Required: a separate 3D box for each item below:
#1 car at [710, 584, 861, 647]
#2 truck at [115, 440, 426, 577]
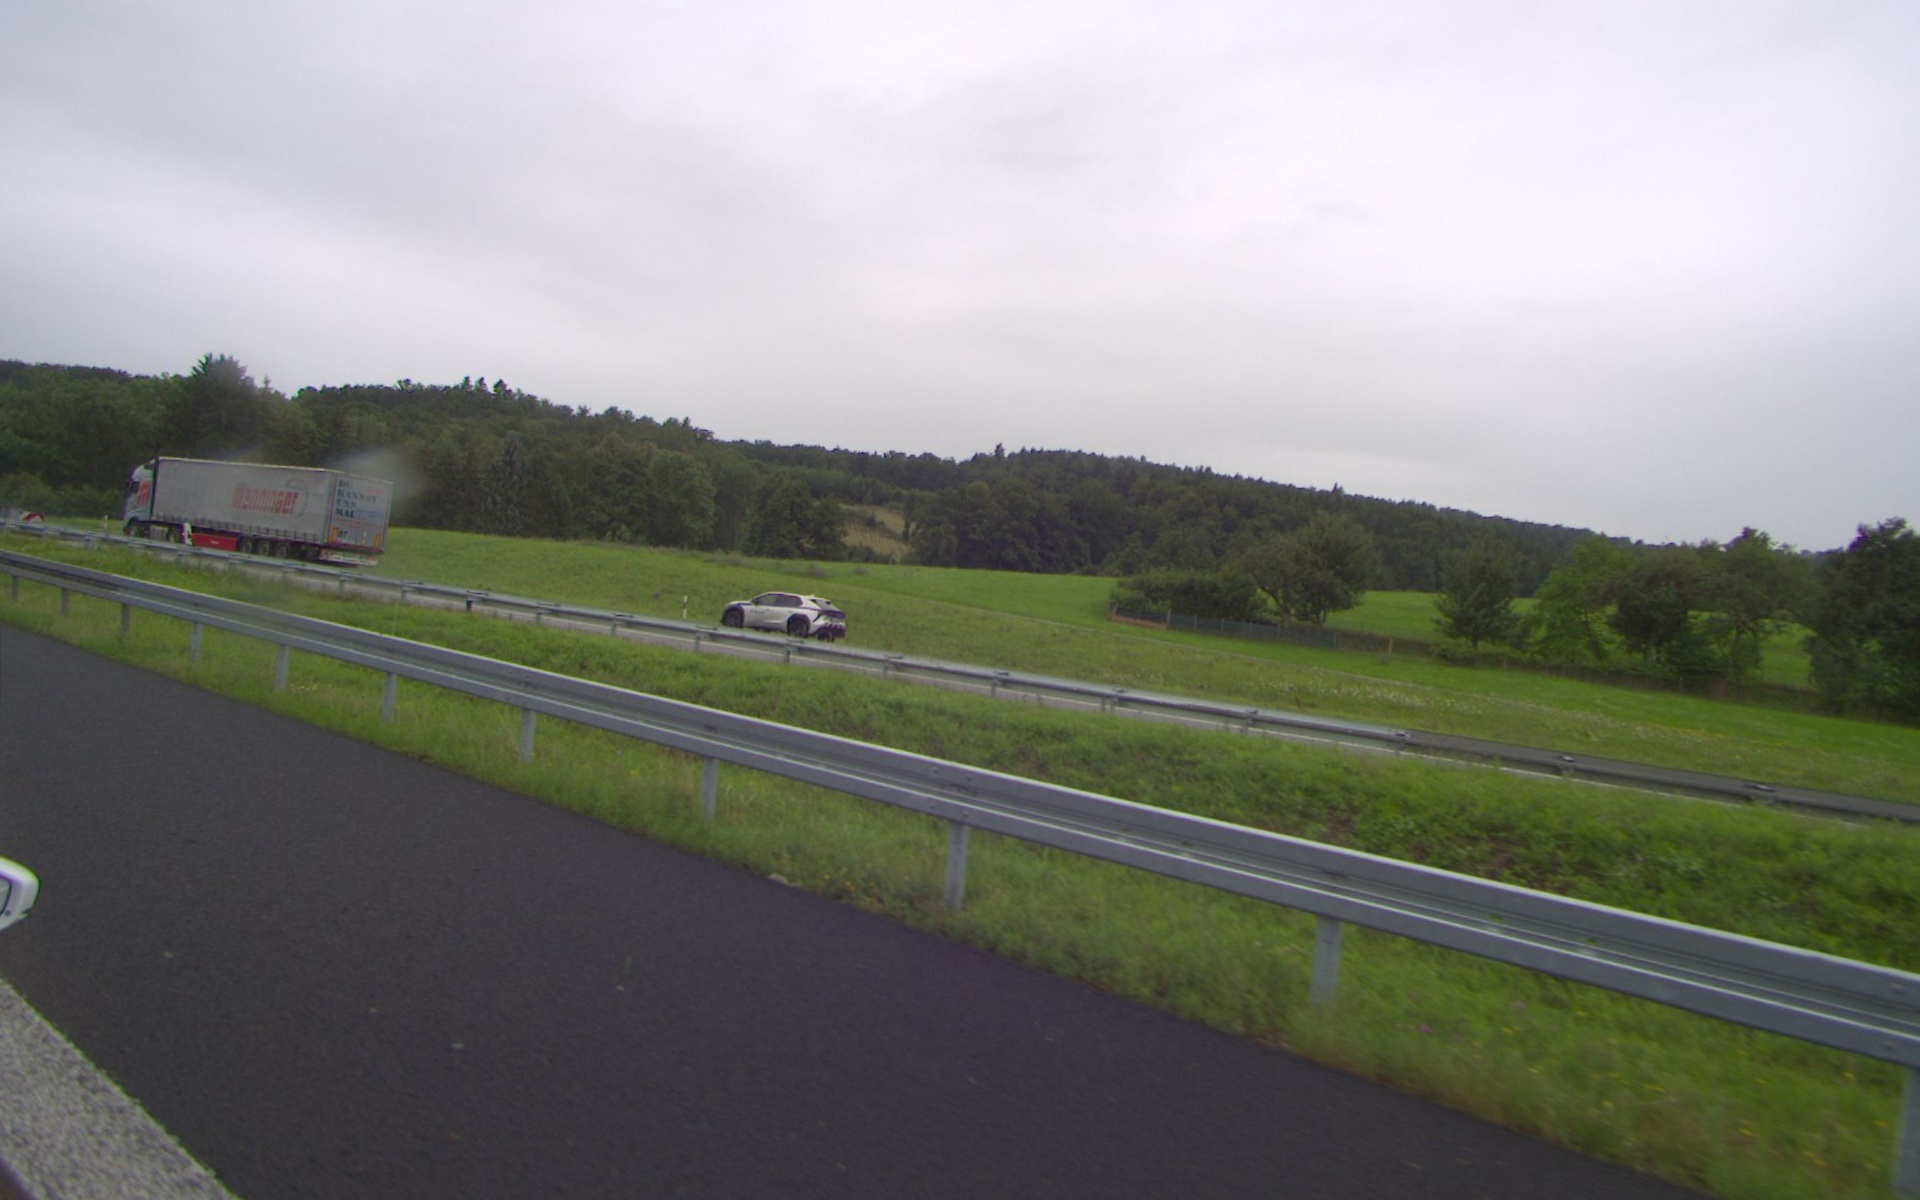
[{"bbox_3d":[-6.073,0.519,34.878,4.943,1.522,1.824,7,-1,27],"label":"car"},{"bbox_3d":[-31.175,-4.250,45.000,16.590,4.595,3.830,6,-1,28],"label":"truck"}]
